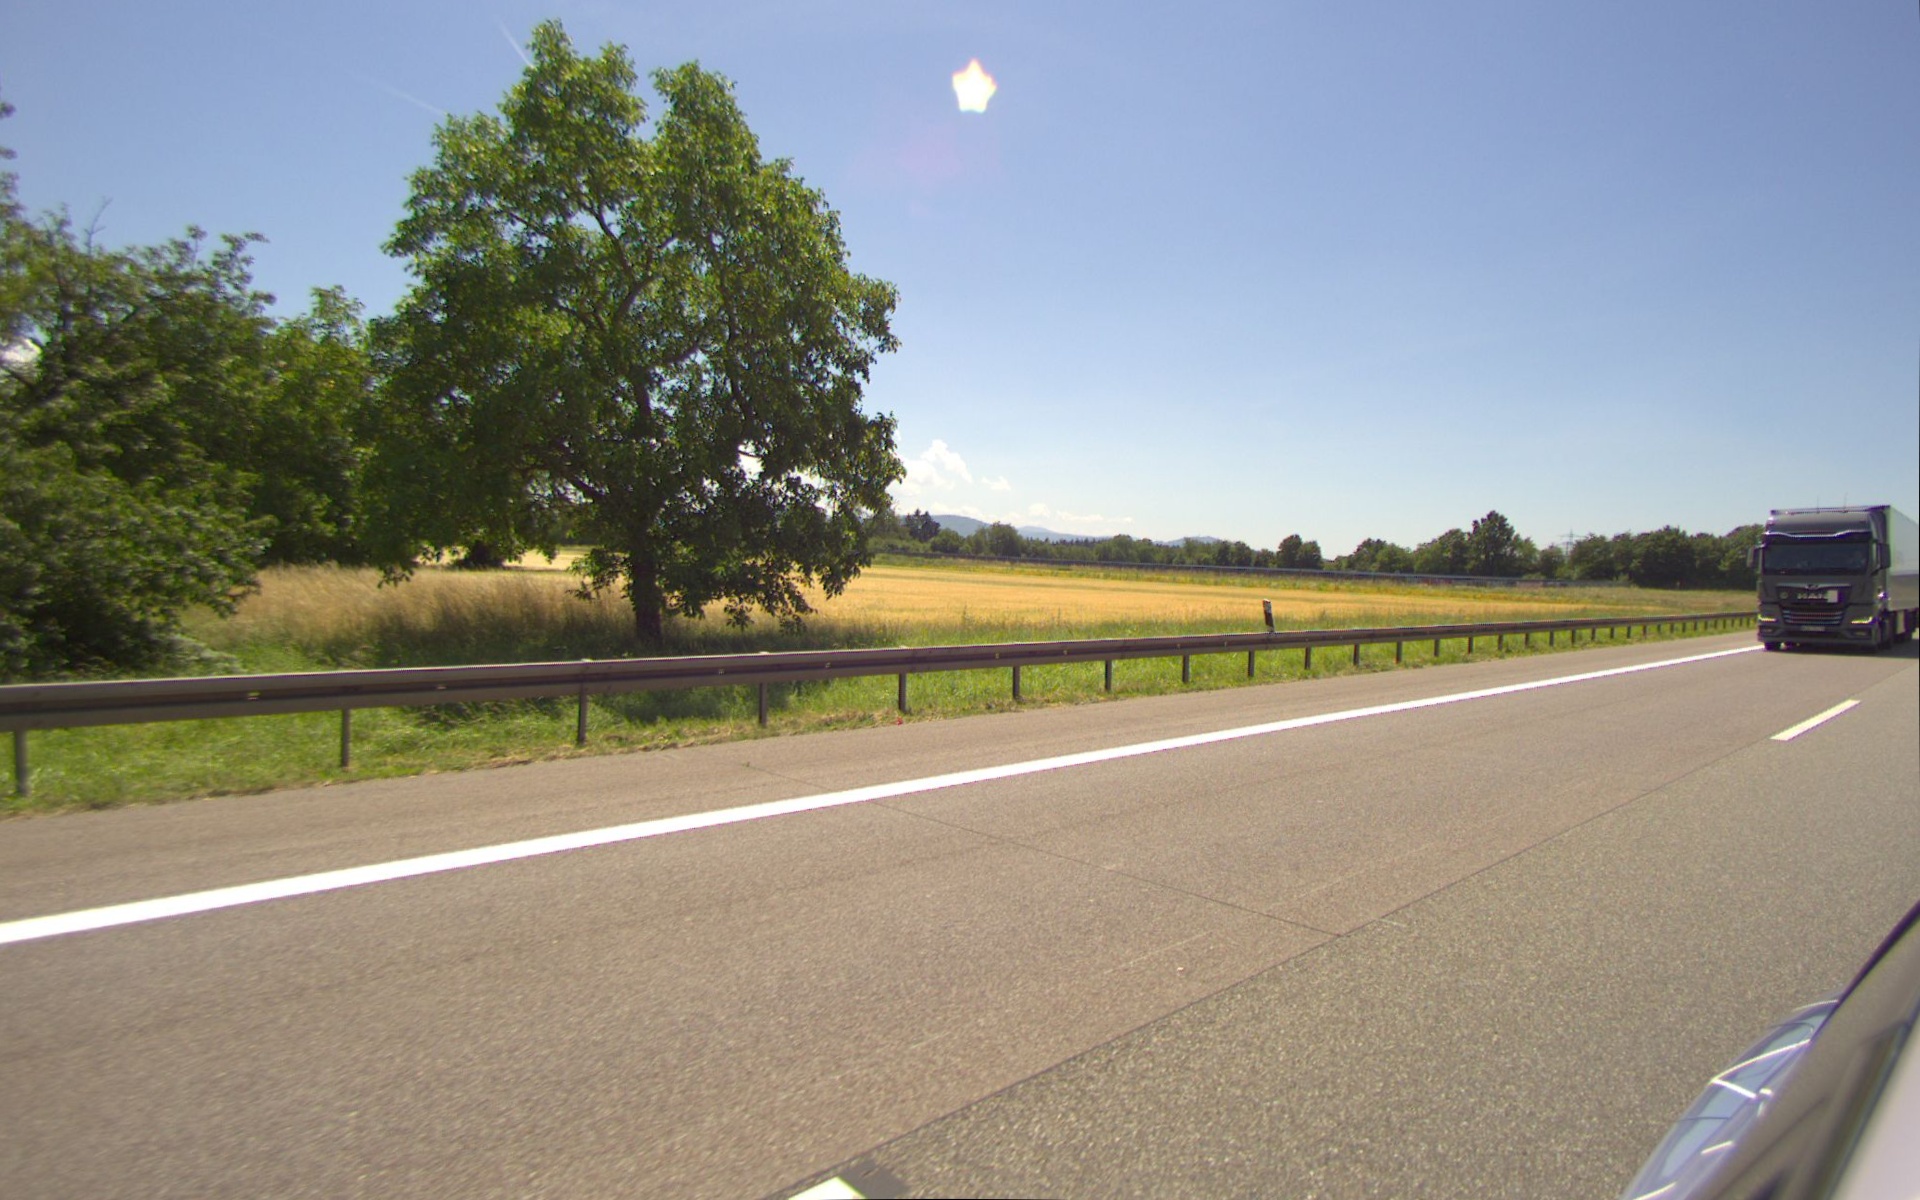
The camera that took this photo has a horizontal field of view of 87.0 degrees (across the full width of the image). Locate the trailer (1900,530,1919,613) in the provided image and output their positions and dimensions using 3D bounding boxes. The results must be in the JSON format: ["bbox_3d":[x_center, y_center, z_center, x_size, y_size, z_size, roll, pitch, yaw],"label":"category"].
[{"bbox_3d":[54.512,-1.723,56.588,2.596,4.303,13.428,1,3,44],"label":"trailer"}]

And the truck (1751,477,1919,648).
[{"bbox_3d":[24.378,-0.982,28.136,4.888,4.309,2.913,0,1,-41],"label":"truck"}]

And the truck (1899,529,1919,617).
[{"bbox_3d":[49.266,-1.400,51.108,2.601,4.308,5.010,1,3,44],"label":"truck"}]

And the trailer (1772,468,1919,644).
[{"bbox_3d":[29.667,-1.244,32.837,13.744,4.715,2.906,0,1,-42],"label":"trailer"}]
